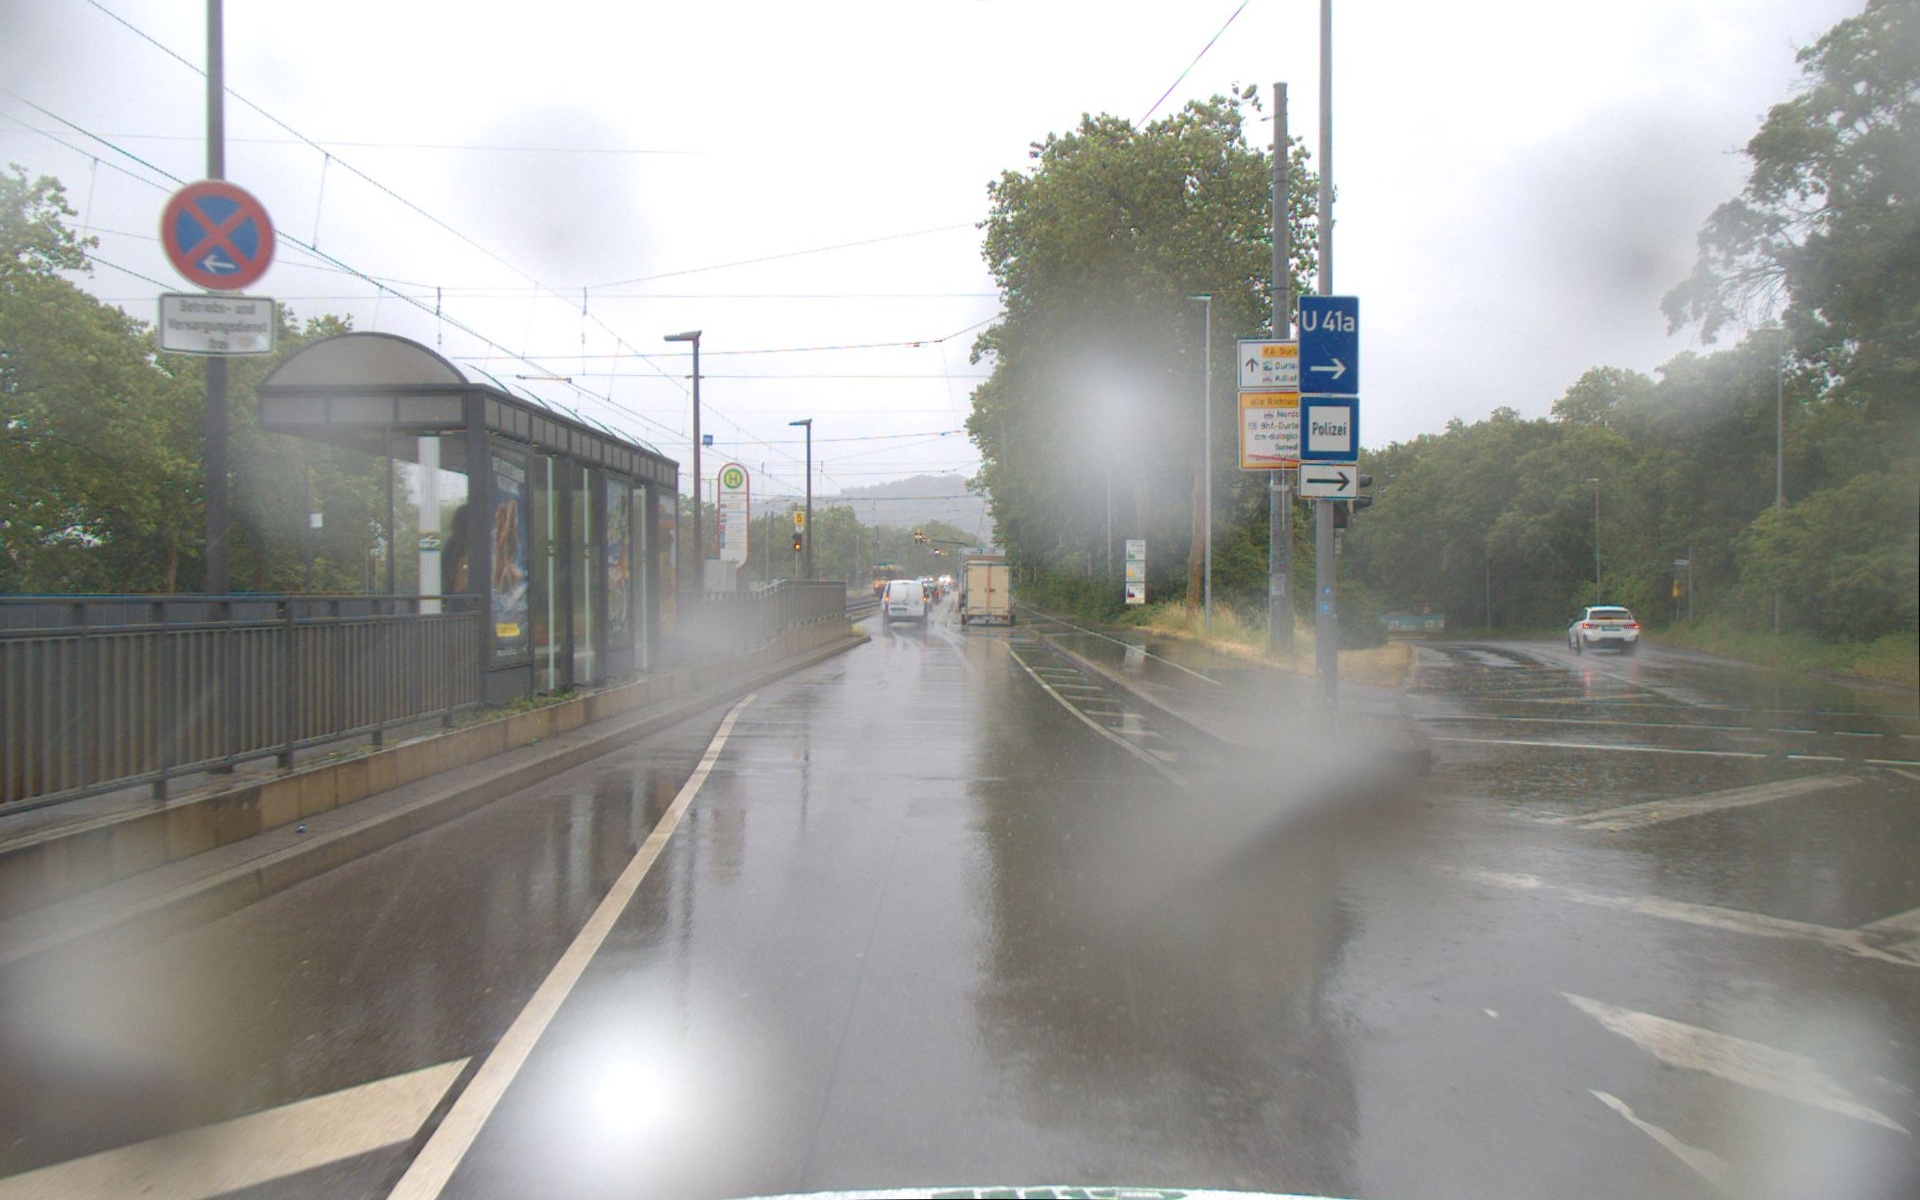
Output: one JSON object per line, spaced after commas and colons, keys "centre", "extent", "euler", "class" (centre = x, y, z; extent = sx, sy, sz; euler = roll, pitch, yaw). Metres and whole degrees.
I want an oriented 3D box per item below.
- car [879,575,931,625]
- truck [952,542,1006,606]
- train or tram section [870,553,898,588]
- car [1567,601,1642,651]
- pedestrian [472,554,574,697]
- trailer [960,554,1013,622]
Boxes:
{"centre": [-2.219, -0.014, 65.498], "extent": [1.954, 1.881, 3.997], "euler": [0, 0, -3], "class": "car"}
{"centre": [1.079, -1.524, 102.500], "extent": [2.720, 3.769, 9.846], "euler": [0, 0, -3], "class": "truck"}
{"centre": [-9.561, -3.668, 209.443], "extent": [2.749, 4.222, 13.020], "euler": [0, 1, 0], "class": "train or tram section"}
{"centre": [20.114, 0.777, 51.733], "extent": [1.848, 1.456, 4.002], "euler": [0, 0, 17], "class": "car"}
{"centre": [-4.263, 0.245, 16.173], "extent": [0.797, 1.364, 0.659], "euler": [1, 0, 0], "class": "pedestrian"}
{"centre": [1.199, -0.493, 71.289], "extent": [2.121, 2.806, 5.678], "euler": [0, 0, 2], "class": "trailer"}
